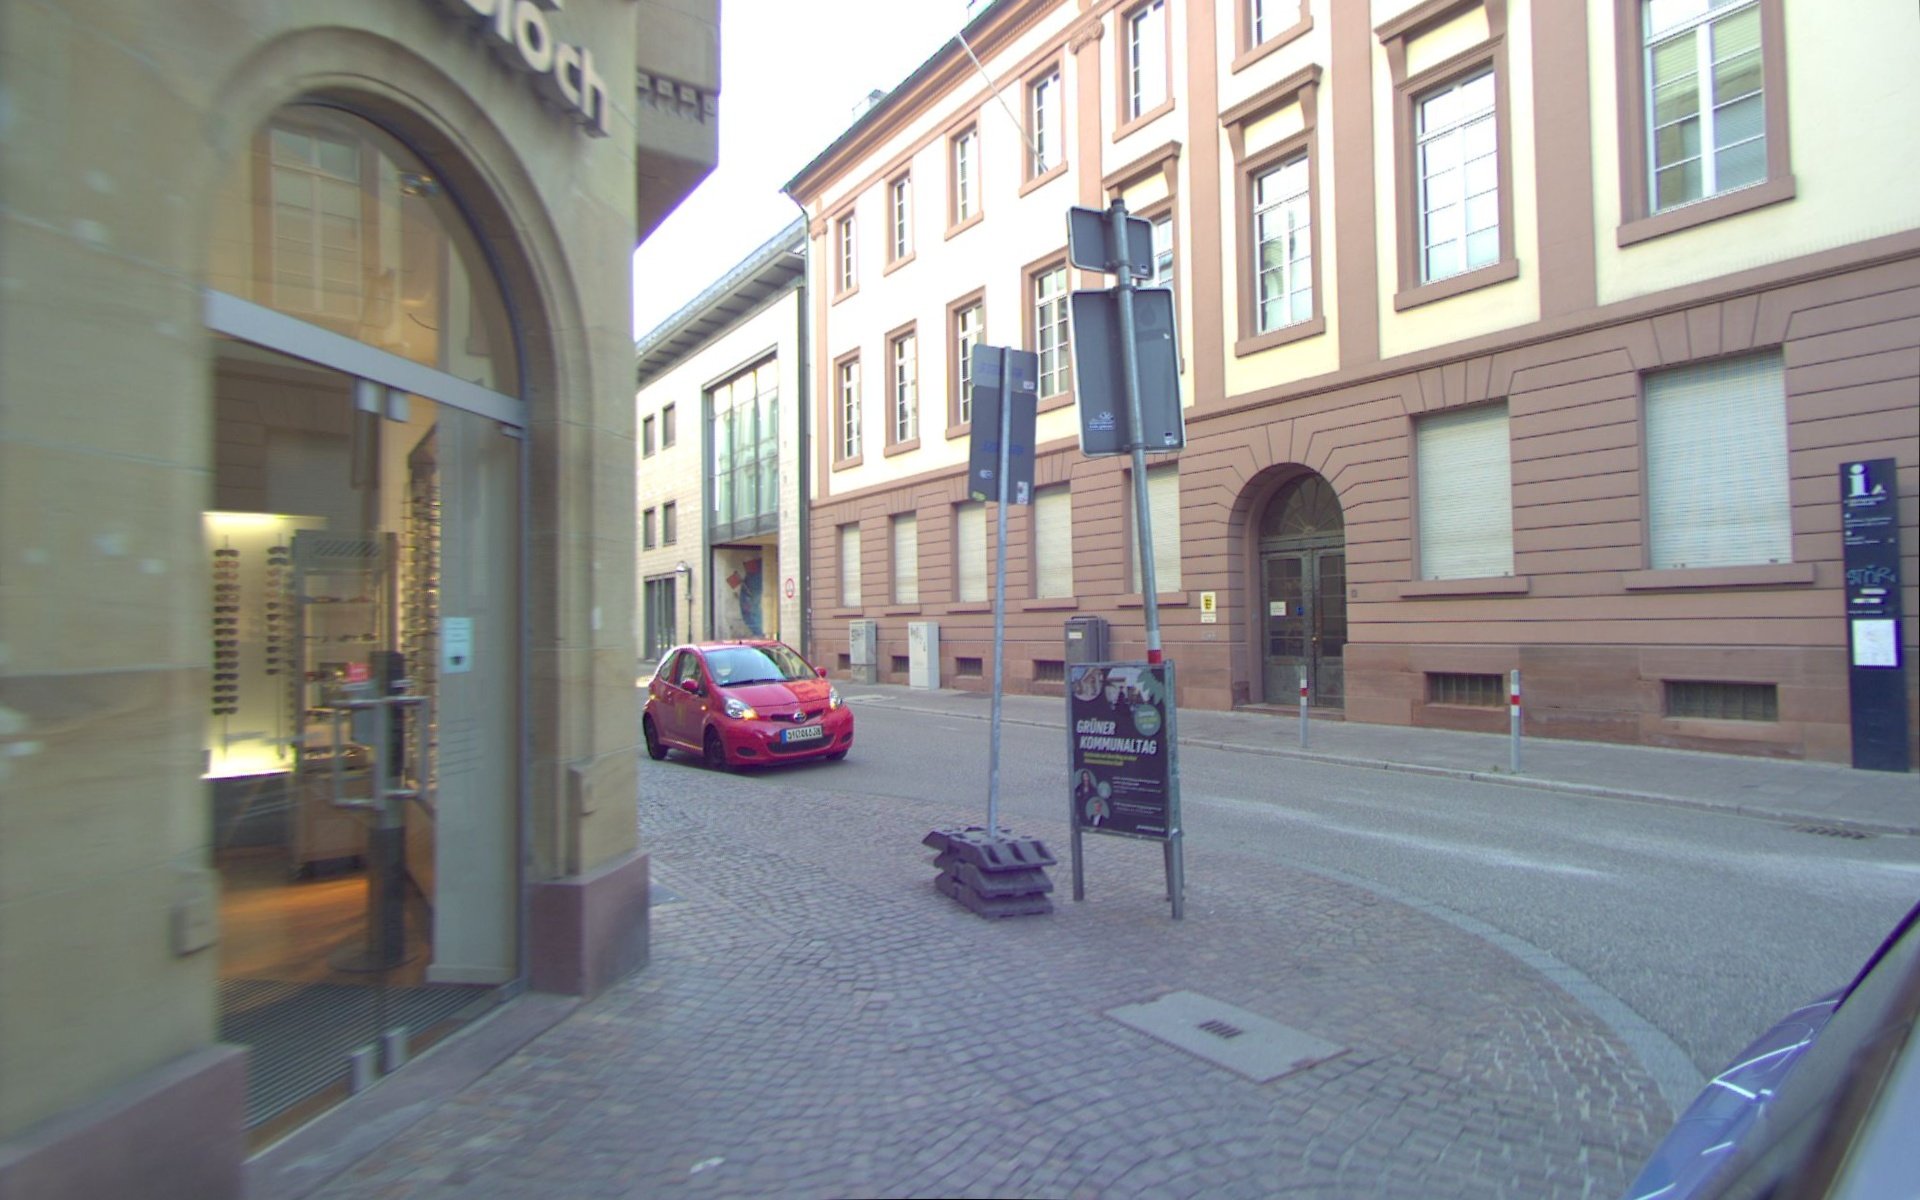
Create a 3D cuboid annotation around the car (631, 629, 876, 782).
[{"bbox_3d":[-2.627,1.129,12.250,1.589,1.443,3.596,-3,1,-34],"label":"car"}]
